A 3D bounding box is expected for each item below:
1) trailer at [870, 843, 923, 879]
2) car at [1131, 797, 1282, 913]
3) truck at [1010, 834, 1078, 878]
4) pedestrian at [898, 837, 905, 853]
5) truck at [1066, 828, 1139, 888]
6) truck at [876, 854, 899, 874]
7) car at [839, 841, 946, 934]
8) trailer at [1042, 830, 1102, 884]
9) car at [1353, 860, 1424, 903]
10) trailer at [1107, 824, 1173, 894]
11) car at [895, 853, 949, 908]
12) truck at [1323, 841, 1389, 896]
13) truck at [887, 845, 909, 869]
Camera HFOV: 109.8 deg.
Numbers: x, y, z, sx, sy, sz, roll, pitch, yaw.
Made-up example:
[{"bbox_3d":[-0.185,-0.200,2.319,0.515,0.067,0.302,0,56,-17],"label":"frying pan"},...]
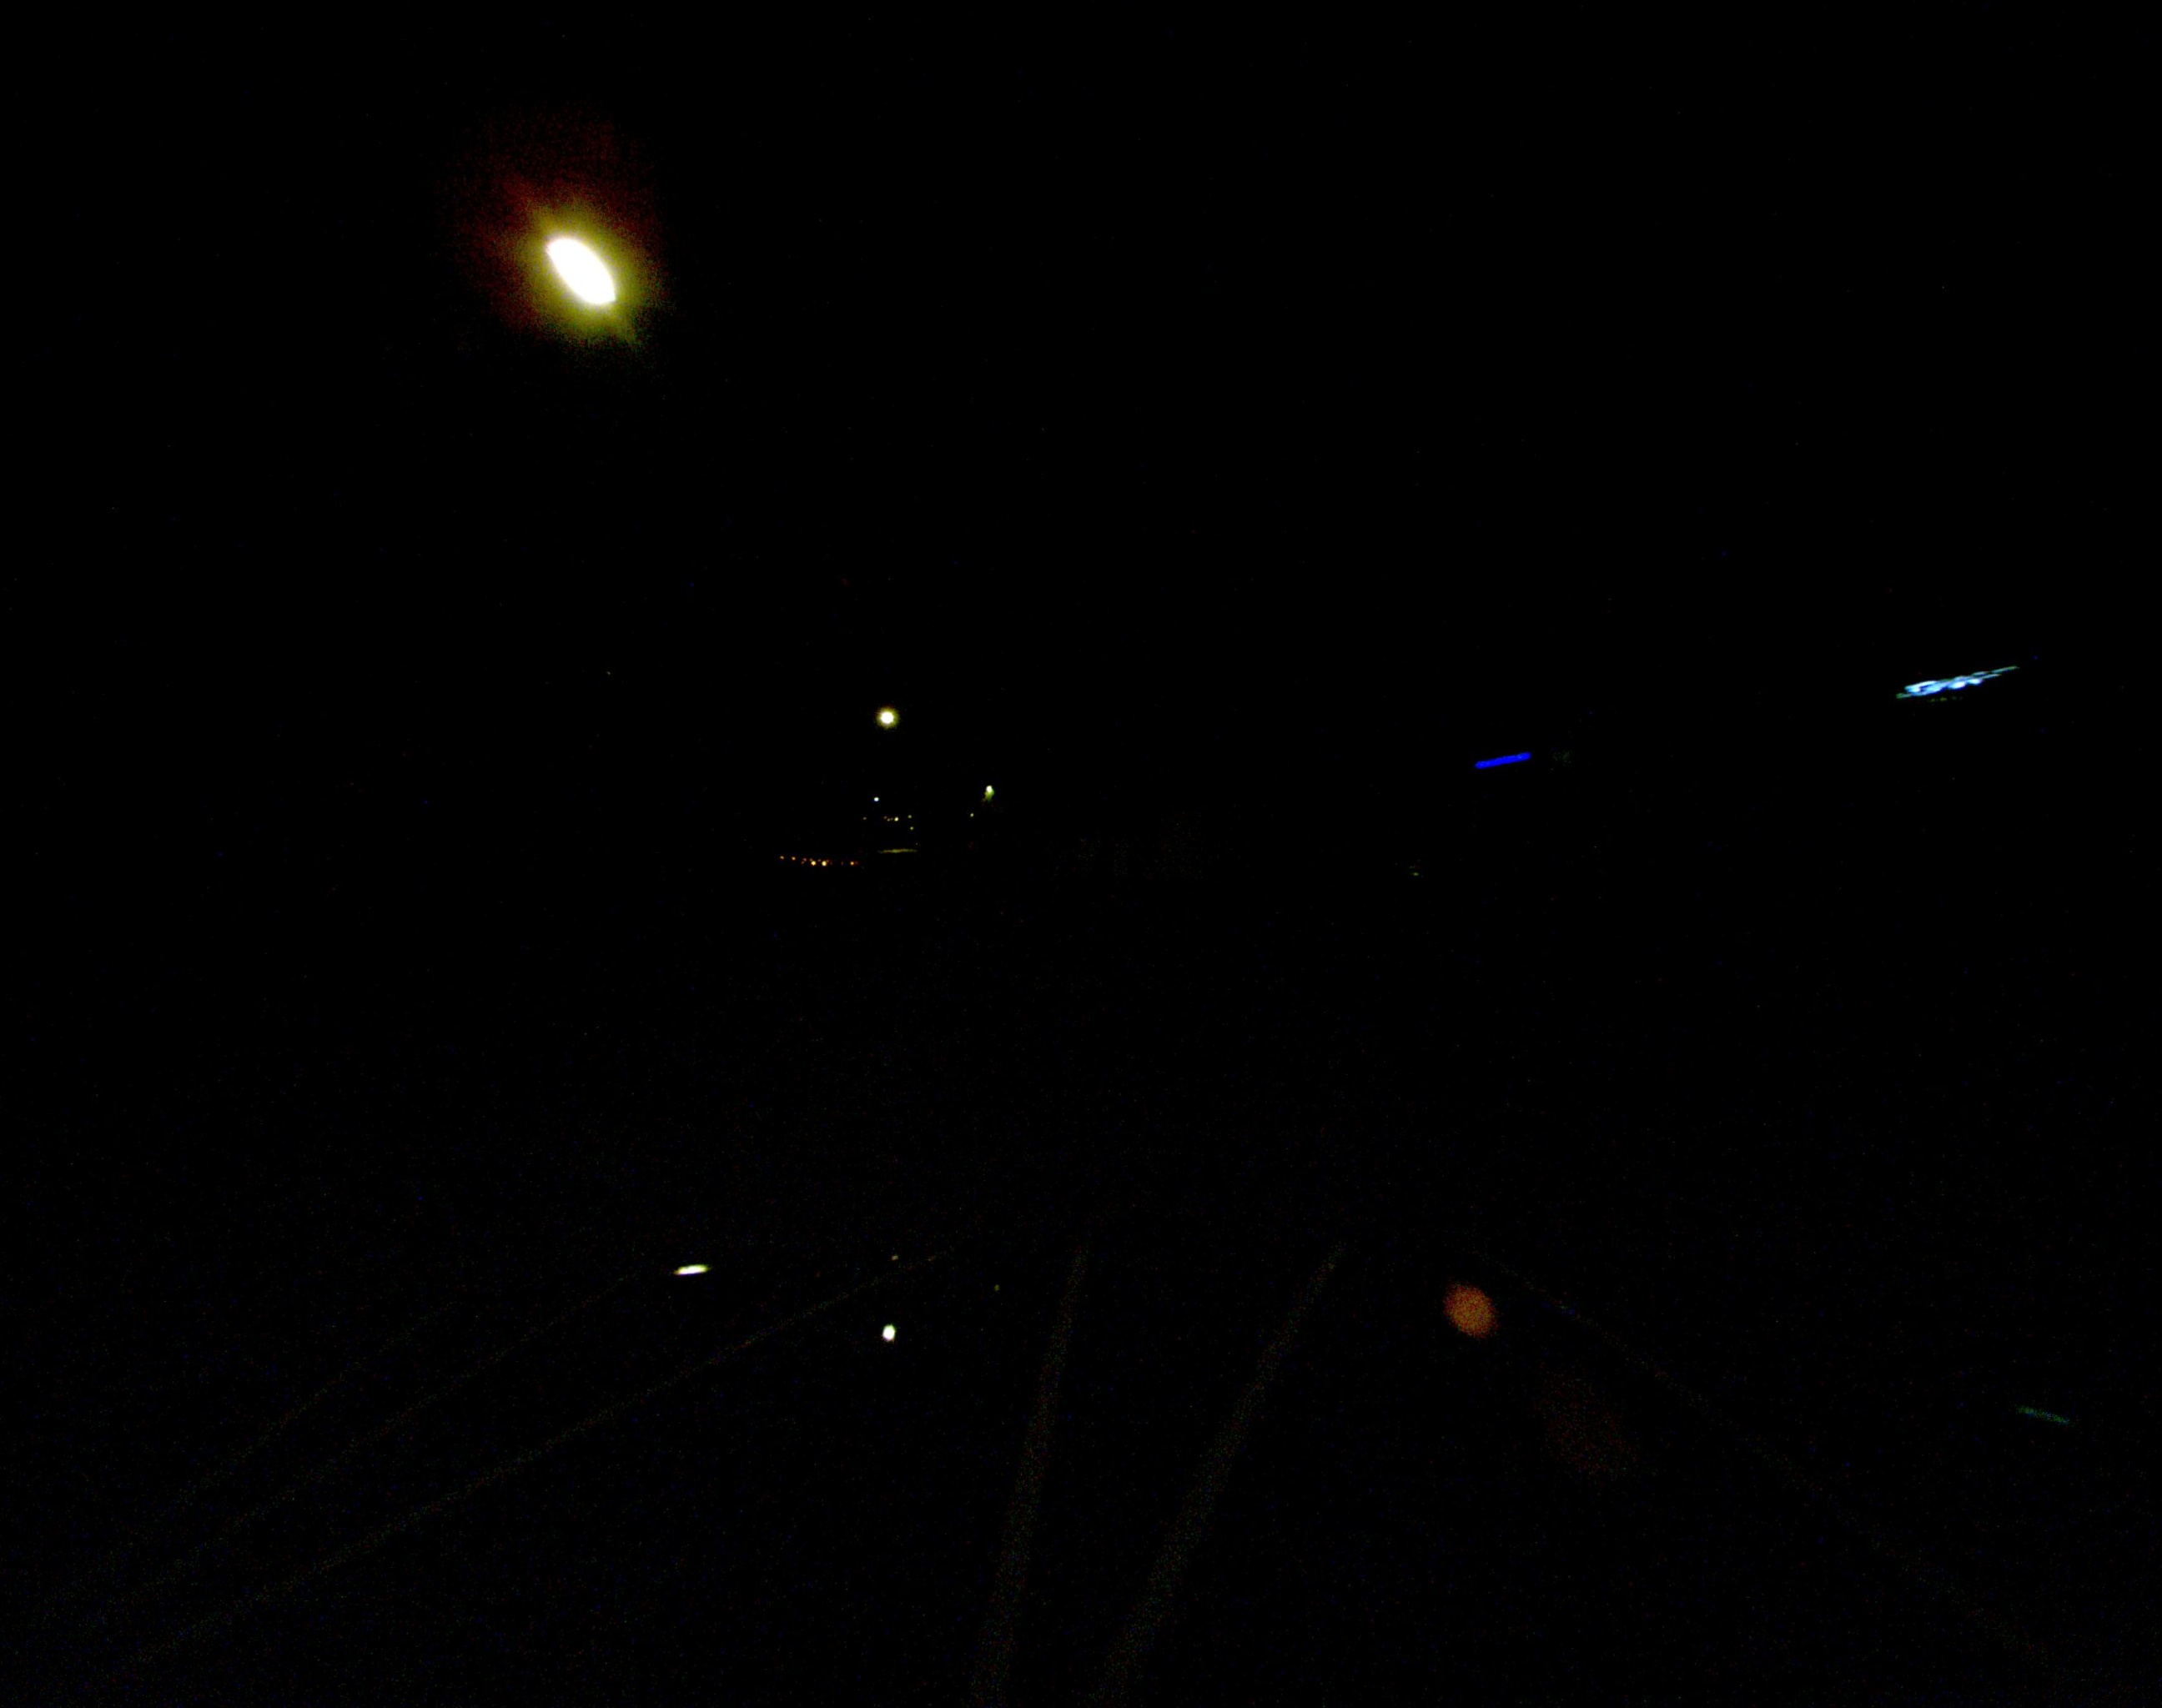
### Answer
[{"bbox_3d":[-10.983,0.429,44.898,1.498,2.002,4.973,-1,0,-32],"label":"trailer"},{"bbox_3d":[3.799,0.013,24.996,2.390,3.224,7.224,-1,0,-12],"label":"car"},{"bbox_3d":[-3.004,0.108,58.110,2.754,3.047,9.322,-1,0,-18],"label":"truck"},{"bbox_3d":[-51.017,-2.576,215.945,1.745,4.679,2.300,-1,0,-10],"label":"pedestrian"},{"bbox_3d":[0.940,0.208,38.758,2.001,2.768,7.236,-1,0,-12],"label":"truck"},{"bbox_3d":[-25.416,1.255,99.844,2.408,2.555,6.400,0,0,-10],"label":"truck"},{"bbox_3d":[-4.703,0.759,19.759,2.000,2.002,5.351,-3,0,-7],"label":"car"},{"bbox_3d":[-0.694,0.182,46.778,2.491,3.055,7.947,-1,0,-9],"label":"trailer"},{"bbox_3d":[12.666,1.067,31.535,1.860,1.630,4.003,0,0,9],"label":"car"},{"bbox_3d":[2.400,0.200,32.107,2.003,2.749,3.997,1,0,-7],"label":"trailer"},{"bbox_3d":[-5.742,0.887,27.809,1.735,1.769,4.312,-2,1,-10],"label":"car"},{"bbox_3d":[14.203,0.686,39.658,2.136,2.598,7.105,0,0,11],"label":"truck"},{"bbox_3d":[-28.421,0.428,118.256,3.059,3.601,9.590,-1,0,-13],"label":"truck"}]
